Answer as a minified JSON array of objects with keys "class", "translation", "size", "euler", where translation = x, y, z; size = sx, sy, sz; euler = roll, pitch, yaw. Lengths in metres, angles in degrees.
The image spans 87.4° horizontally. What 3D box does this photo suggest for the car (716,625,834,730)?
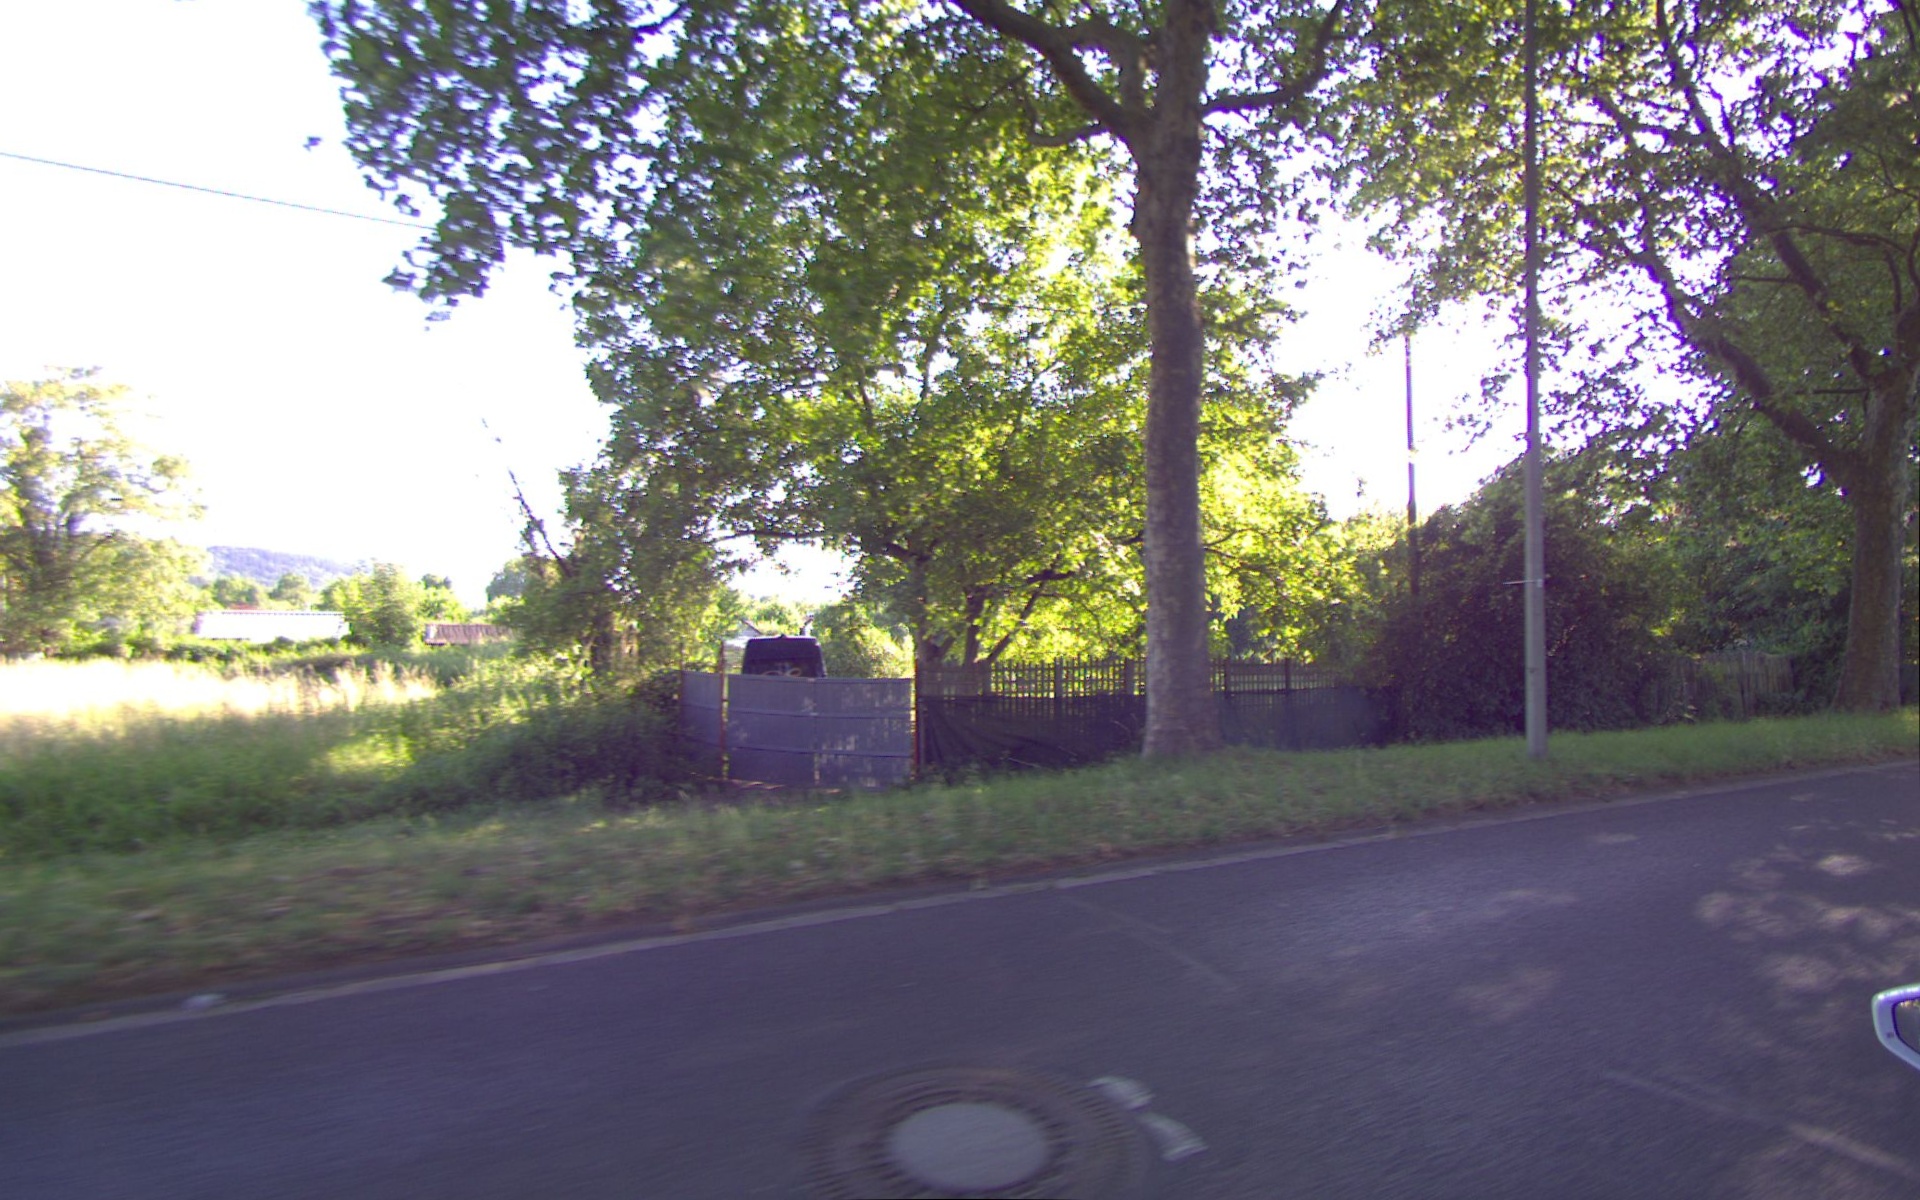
[{"class":"car","translation":[-4.242,1.647,22.599],"size":[1.969,2.040,3.982],"euler":[2,-1,-20]}]
